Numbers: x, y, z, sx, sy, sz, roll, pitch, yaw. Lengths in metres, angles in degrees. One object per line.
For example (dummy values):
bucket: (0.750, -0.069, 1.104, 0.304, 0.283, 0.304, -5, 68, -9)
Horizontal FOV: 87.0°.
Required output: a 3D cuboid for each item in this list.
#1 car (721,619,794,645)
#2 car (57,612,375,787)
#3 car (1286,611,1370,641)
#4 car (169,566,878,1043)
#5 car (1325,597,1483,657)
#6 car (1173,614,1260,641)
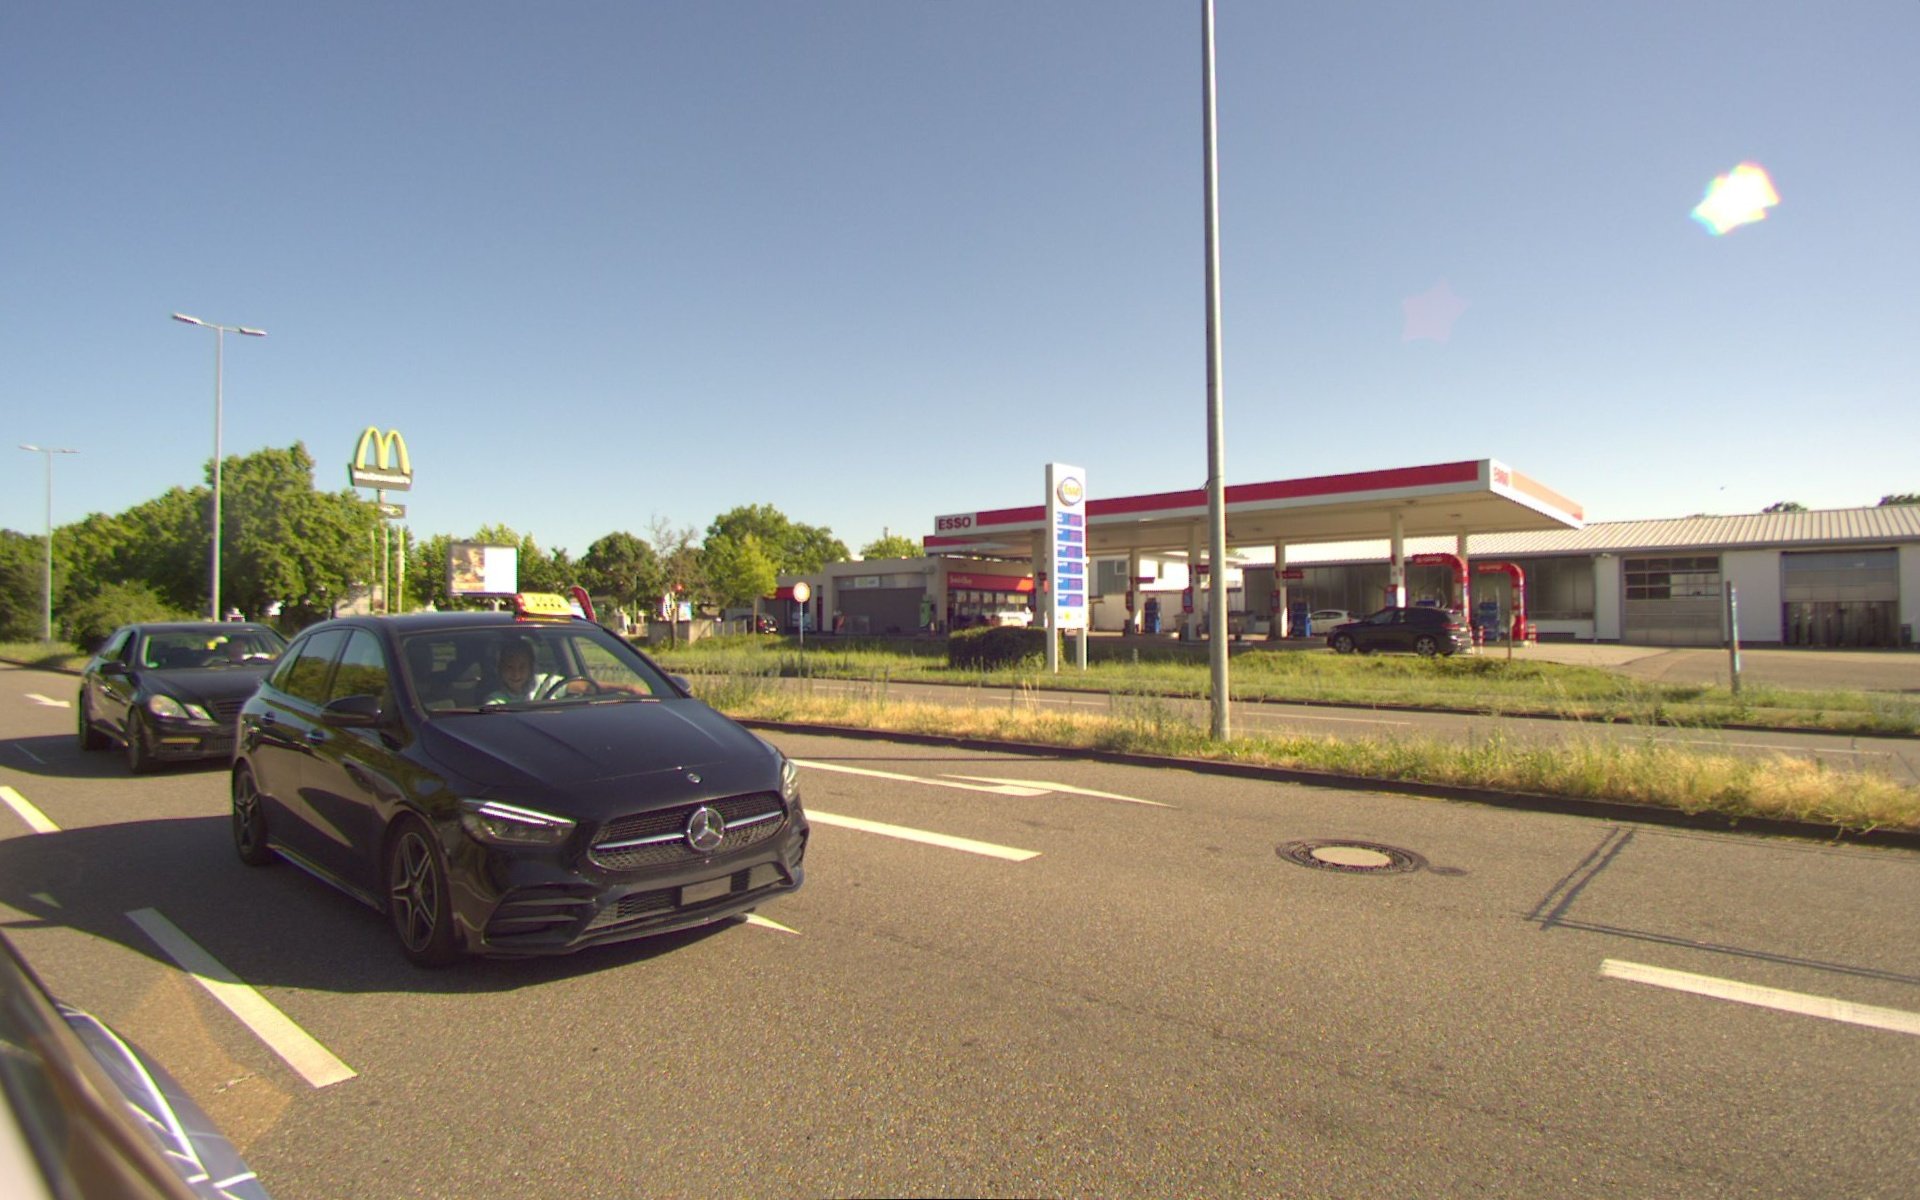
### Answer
car: (-11.457, 1.801, 57.140, 3.998, 1.416, 1.973, -2, -1, 41)
car: (-8.379, 0.919, 11.244, 4.461, 1.521, 1.928, -1, 0, 41)
car: (19.968, 1.384, 54.943, 3.855, 1.500, 1.973, -1, 0, 41)
car: (-2.703, 0.743, 5.601, 4.579, 1.614, 1.765, -2, -1, 40)
car: (14.278, 0.857, 32.693, 4.322, 1.739, 1.783, -1, 2, 43)
car: (15.126, 1.608, 59.796, 4.540, 1.477, 1.973, -1, 0, 41)
